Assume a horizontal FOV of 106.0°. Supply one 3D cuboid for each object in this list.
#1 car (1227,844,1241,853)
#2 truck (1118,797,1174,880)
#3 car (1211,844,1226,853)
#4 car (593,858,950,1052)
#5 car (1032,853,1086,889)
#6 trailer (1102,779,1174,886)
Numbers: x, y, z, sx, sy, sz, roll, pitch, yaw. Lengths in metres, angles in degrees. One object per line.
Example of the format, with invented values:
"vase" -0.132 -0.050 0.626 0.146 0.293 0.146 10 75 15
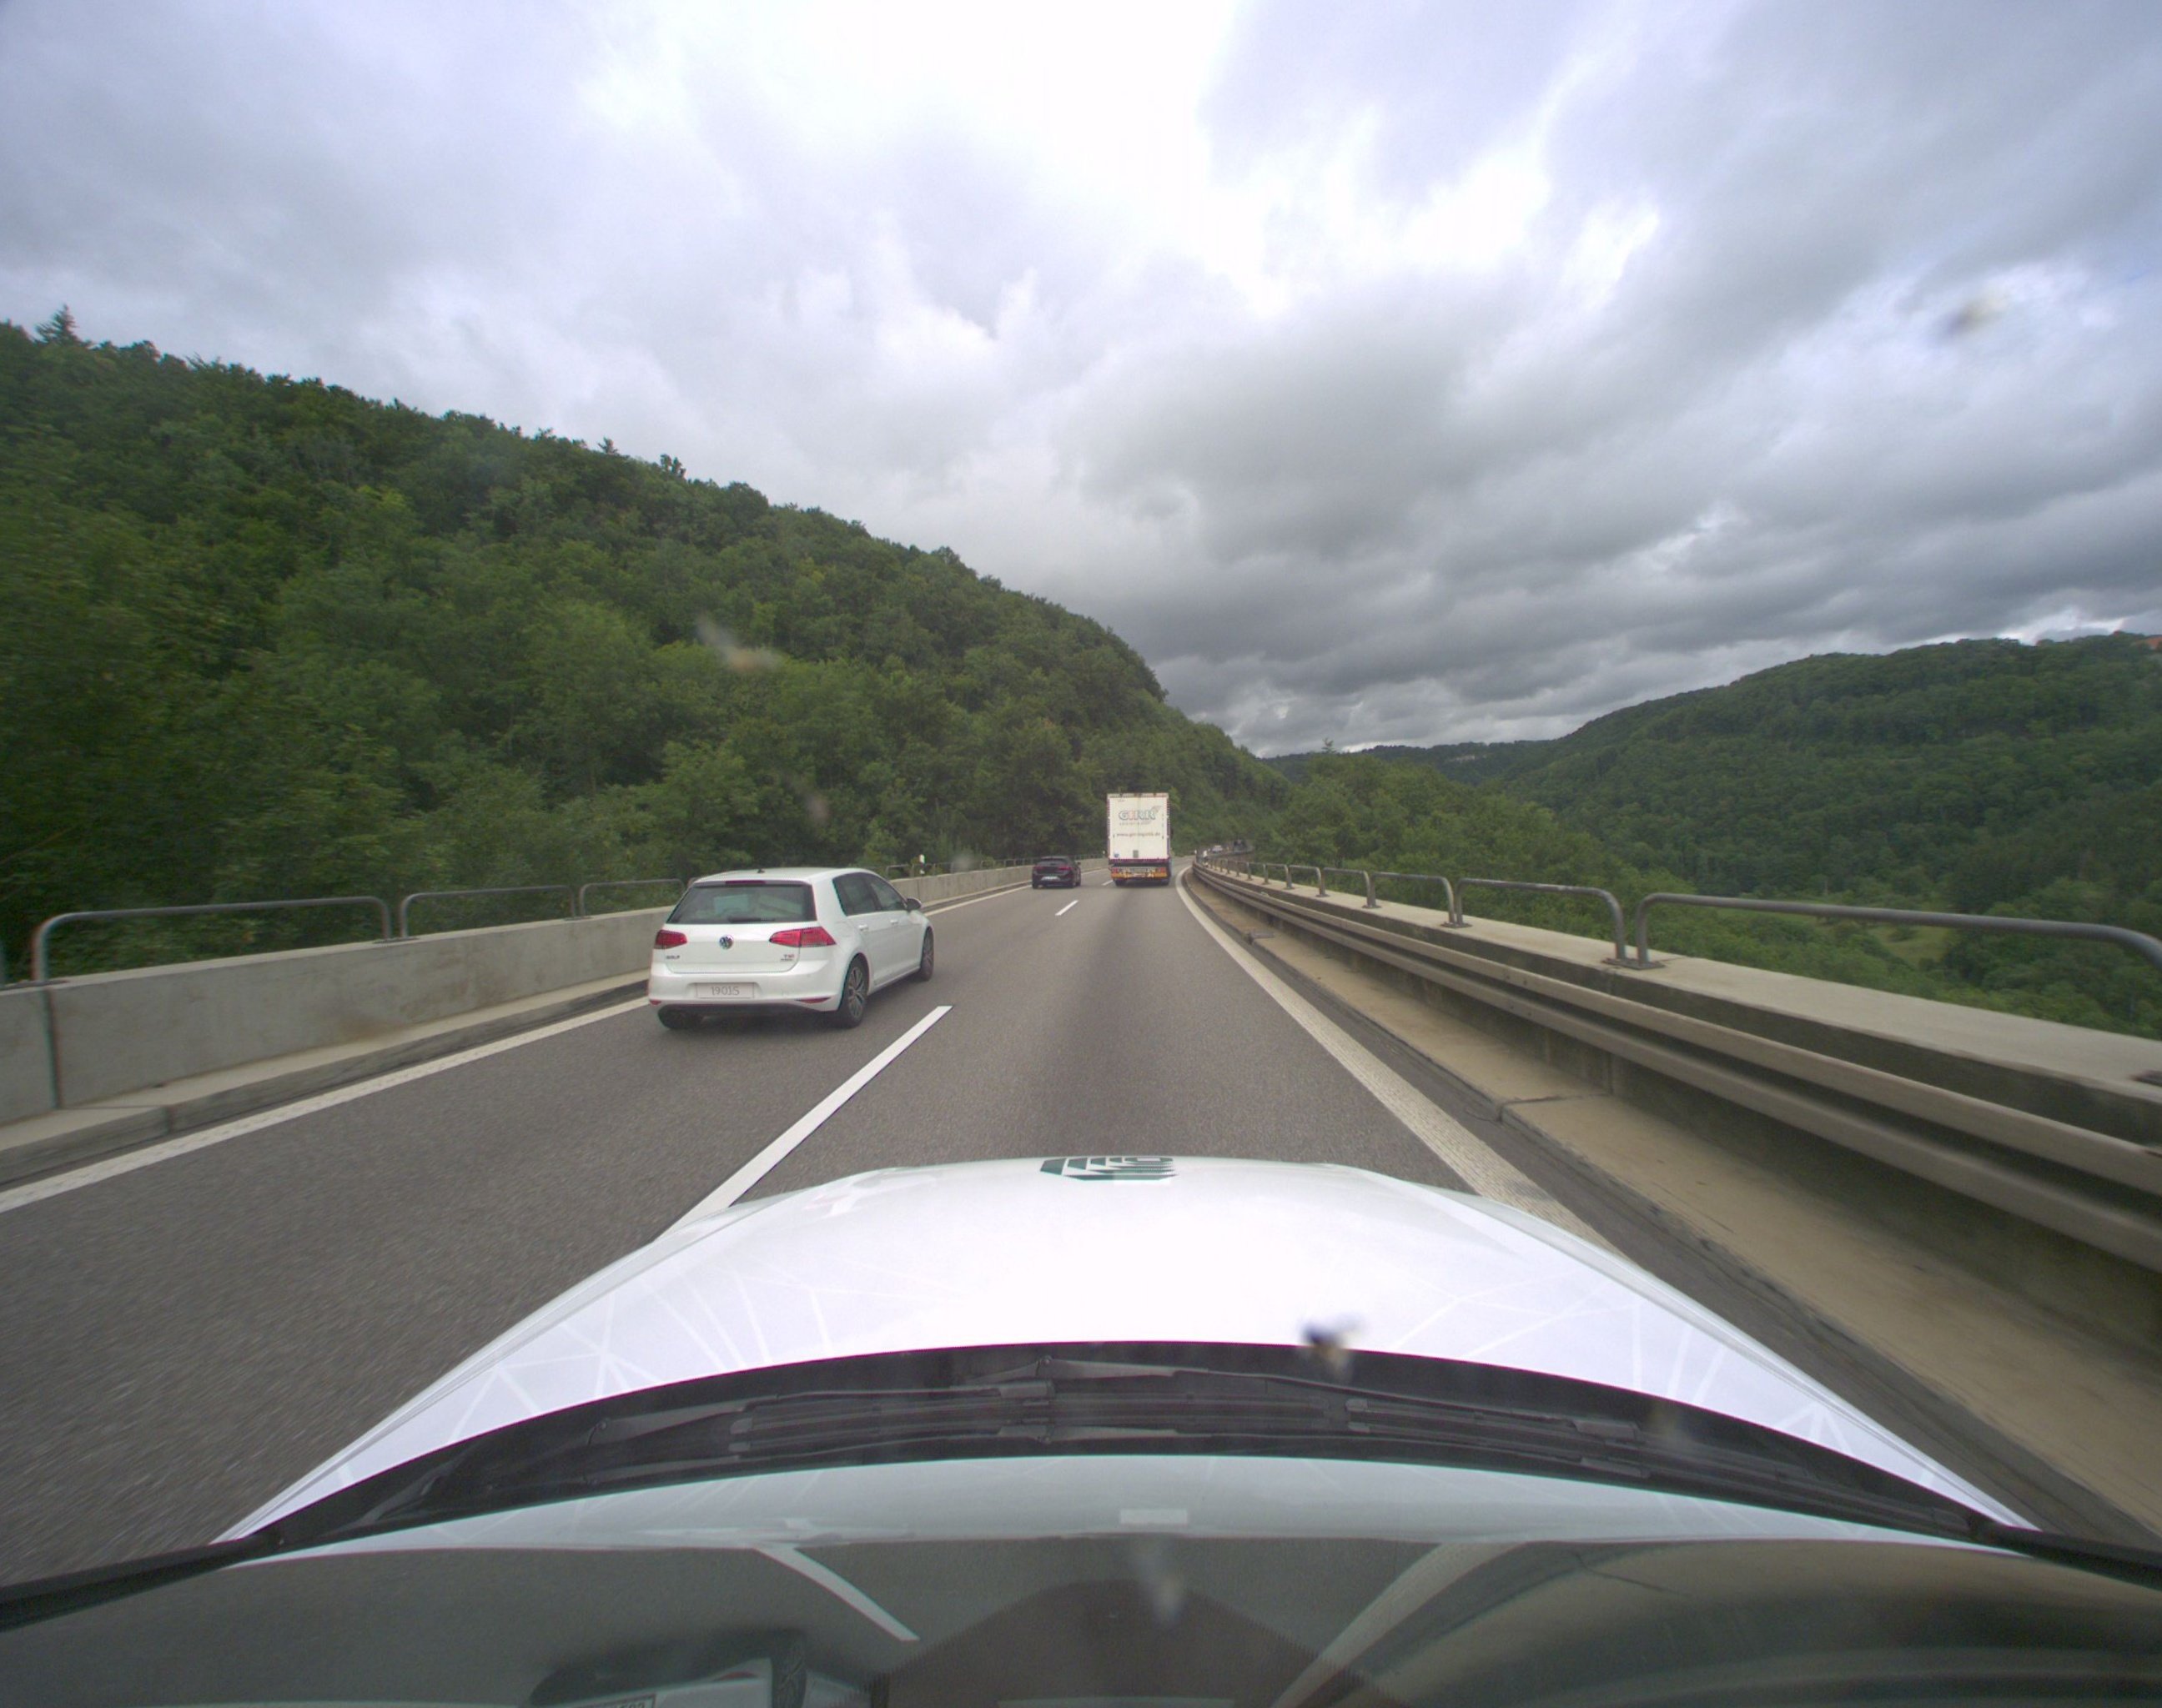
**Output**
"car" 29.040 -1.037 154.528 1.977 1.565 4.020 -2 -1 20
"truck" 3.789 -0.777 46.130 2.799 4.302 6.270 -2 -1 6
"car" 25.978 -0.975 153.531 1.977 1.565 4.020 -2 -1 20
"car" -2.821 0.815 8.735 1.837 1.482 4.631 -1 0 3
"car" -0.911 0.733 36.216 1.764 1.461 4.589 -1 0 6
"trailer" 3.047 -0.836 39.716 2.799 4.302 12.266 -2 -1 7
